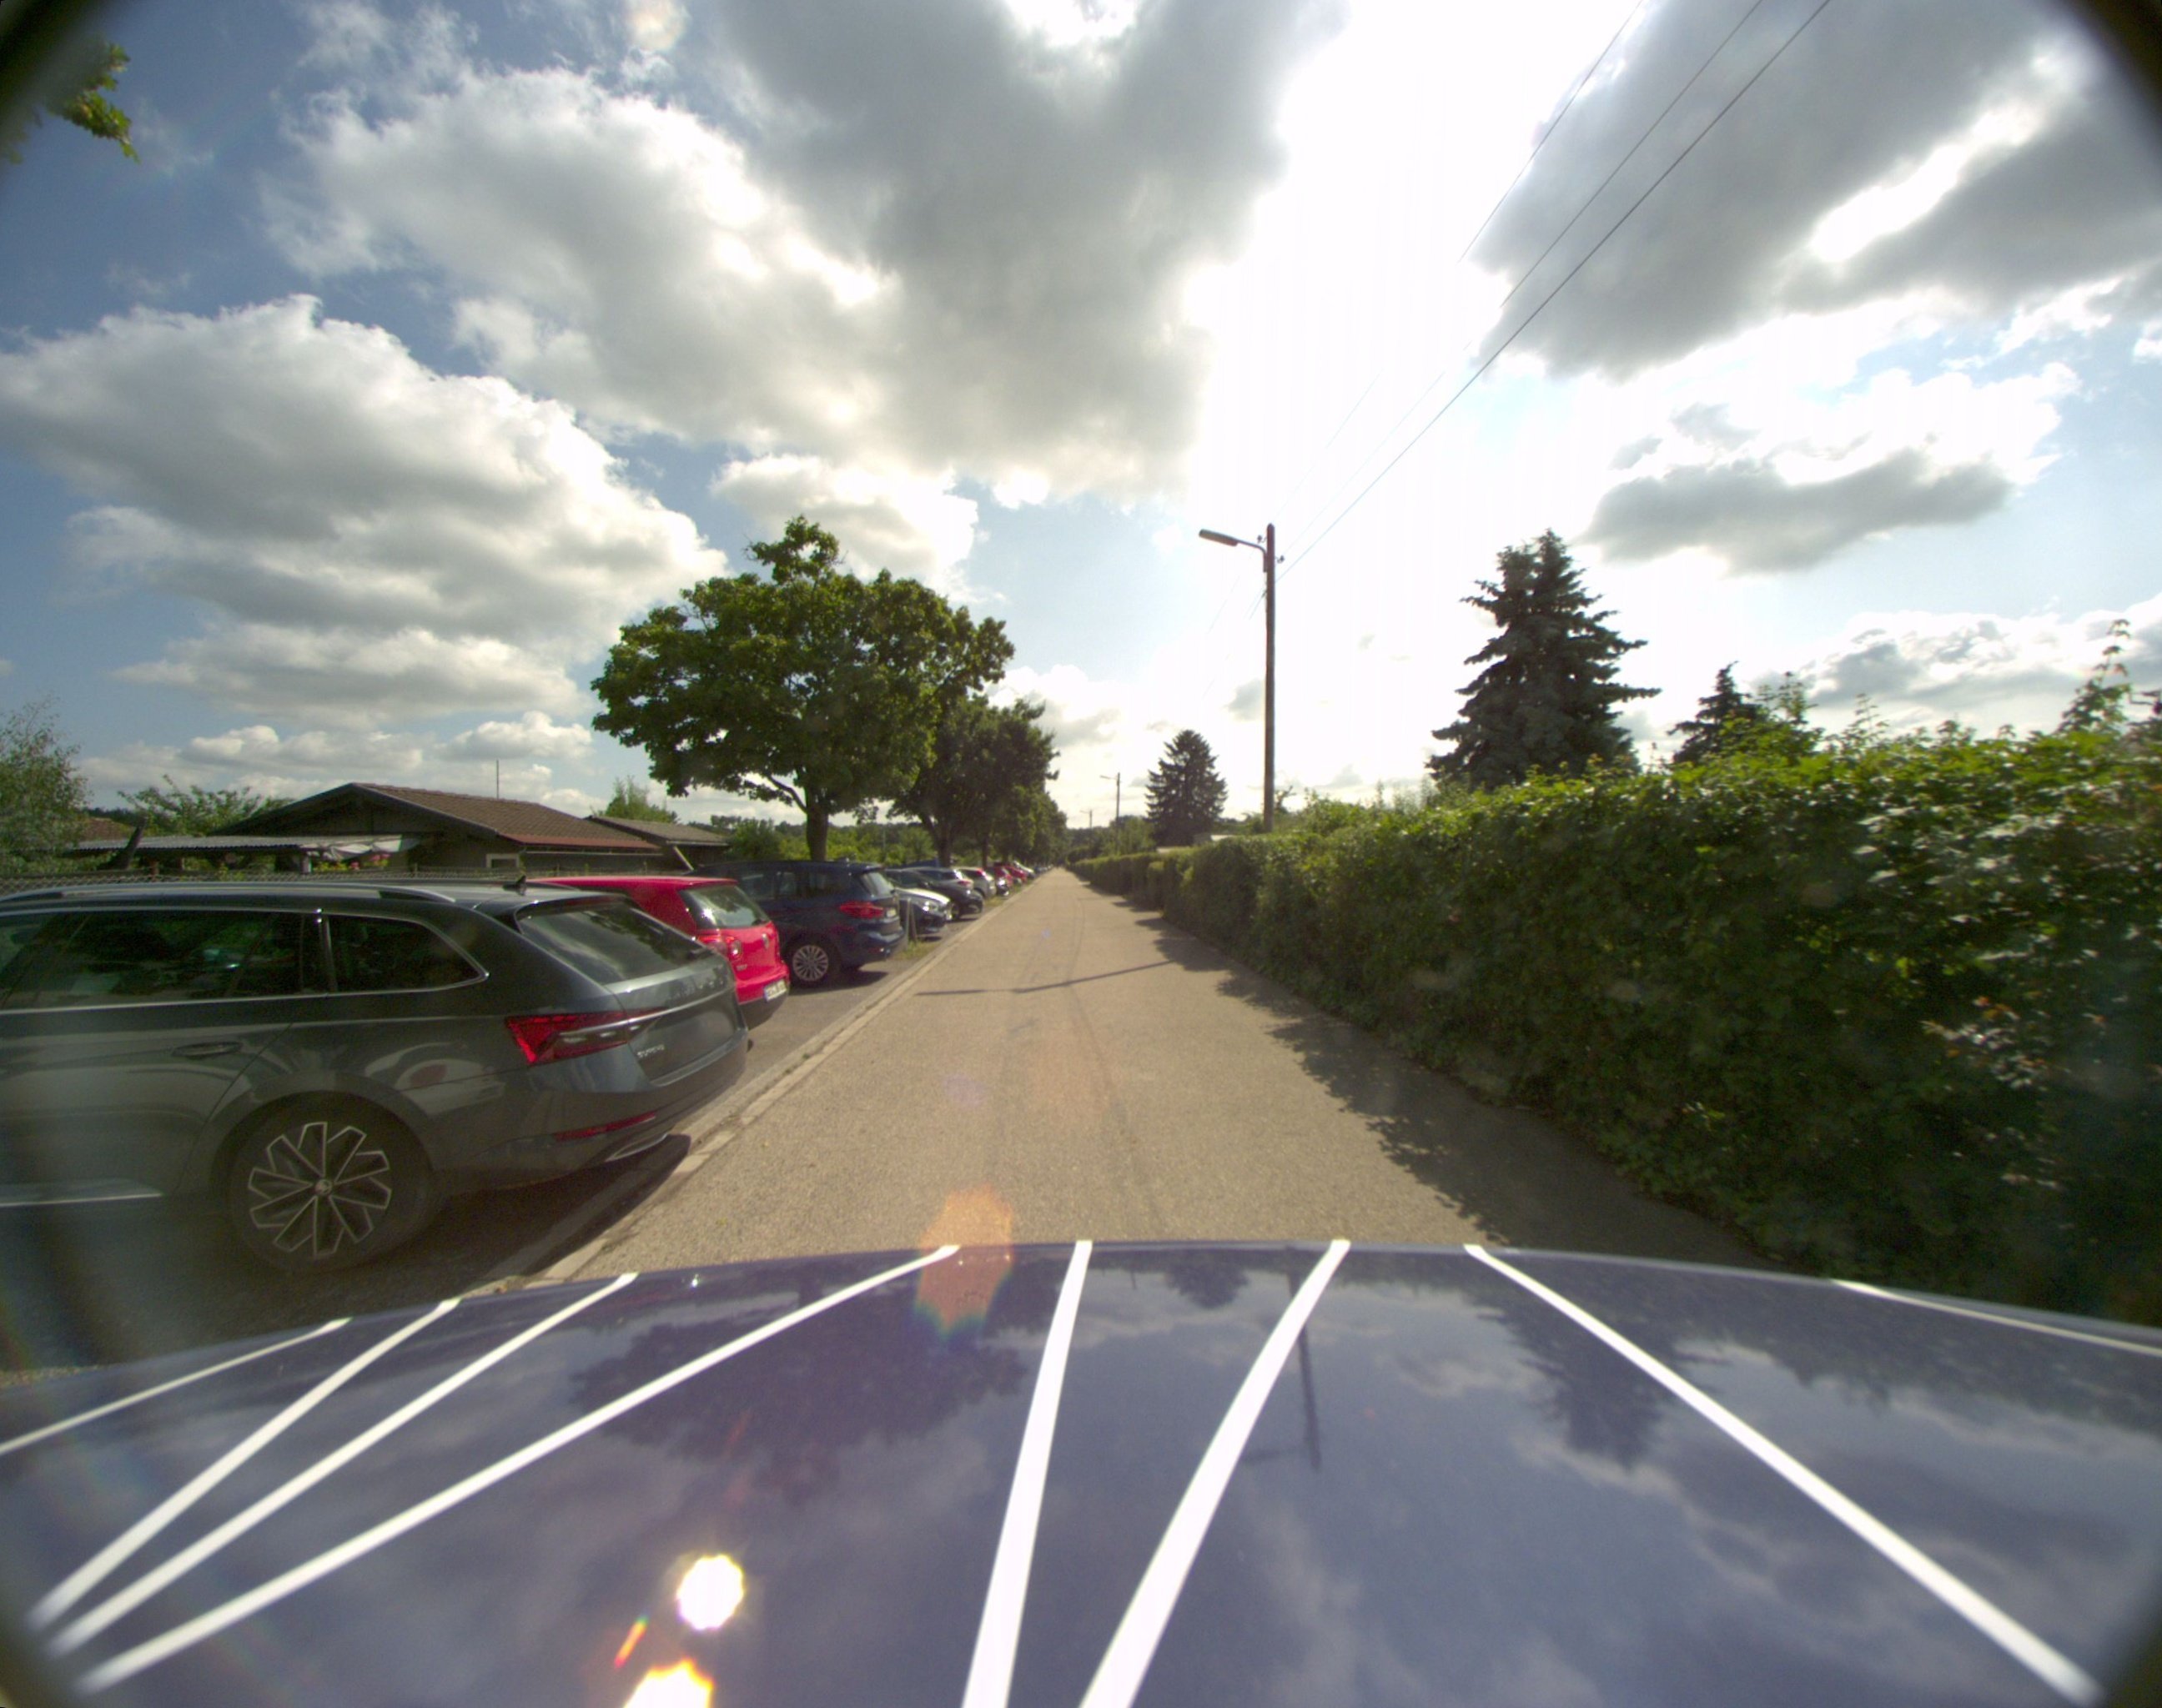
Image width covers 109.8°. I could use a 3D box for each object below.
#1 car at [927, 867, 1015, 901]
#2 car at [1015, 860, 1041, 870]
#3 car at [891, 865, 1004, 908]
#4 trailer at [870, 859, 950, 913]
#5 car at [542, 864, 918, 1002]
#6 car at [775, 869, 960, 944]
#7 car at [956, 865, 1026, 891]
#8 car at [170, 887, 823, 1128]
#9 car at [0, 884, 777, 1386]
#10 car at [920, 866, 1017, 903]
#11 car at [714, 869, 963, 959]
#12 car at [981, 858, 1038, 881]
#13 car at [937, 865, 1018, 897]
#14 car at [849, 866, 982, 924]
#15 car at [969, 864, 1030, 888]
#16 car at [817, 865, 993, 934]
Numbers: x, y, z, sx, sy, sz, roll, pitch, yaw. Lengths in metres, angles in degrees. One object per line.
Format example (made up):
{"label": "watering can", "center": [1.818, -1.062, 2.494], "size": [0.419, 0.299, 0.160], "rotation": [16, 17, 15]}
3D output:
{"label": "car", "center": [-5.358, 1.460, 37.303], "size": [3.920, 1.415, 1.958], "rotation": [-2, 0, 1]}
{"label": "car", "center": [-8.461, 1.752, 121.606], "size": [4.117, 1.573, 1.780], "rotation": [-1, 0, -3]}
{"label": "car", "center": [-5.302, 1.282, 30.563], "size": [4.074, 1.502, 1.958], "rotation": [-2, 0, 1]}
{"label": "trailer", "center": [-5.864, 1.101, 26.317], "size": [2.457, 1.710, 1.518], "rotation": [-2, -1, -5]}
{"label": "car", "center": [-4.492, 0.980, 10.232], "size": [4.165, 1.628, 1.878], "rotation": [-1, 0, 0]}
{"label": "car", "center": [-4.924, 1.198, 17.990], "size": [3.823, 1.483, 1.902], "rotation": [-2, 0, -2]}
{"label": "car", "center": [-5.684, 1.492, 48.373], "size": [4.251, 1.420, 1.907], "rotation": [-2, 0, -5]}
{"label": "car", "center": [-4.280, 1.082, 6.090], "size": [3.819, 1.523, 1.762], "rotation": [-1, 0, -2]}
{"label": "car", "center": [-4.056, 1.051, 3.469], "size": [4.562, 1.569, 1.808], "rotation": [-2, 0, -5]}
{"label": "car", "center": [-4.973, 1.344, 34.041], "size": [4.077, 1.447, 1.869], "rotation": [-2, 0, -4]}
{"label": "car", "center": [-4.711, 1.148, 15.314], "size": [4.347, 1.483, 1.975], "rotation": [-2, 0, -2]}
{"label": "car", "center": [-5.892, 1.300, 63.244], "size": [4.647, 1.875, 2.111], "rotation": [0, 0, -3]}
{"label": "car", "center": [-5.491, 1.432, 40.728], "size": [3.996, 1.510, 1.854], "rotation": [-2, 0, 2]}
{"label": "car", "center": [-5.027, 1.230, 23.457], "size": [3.734, 1.531, 1.849], "rotation": [-2, 0, -5]}
{"label": "car", "center": [-5.896, 1.606, 55.593], "size": [4.194, 1.495, 1.878], "rotation": [-2, 0, 0]}
{"label": "car", "center": [-4.697, 1.192, 20.820], "size": [4.314, 1.584, 2.000], "rotation": [-2, 0, -2]}
